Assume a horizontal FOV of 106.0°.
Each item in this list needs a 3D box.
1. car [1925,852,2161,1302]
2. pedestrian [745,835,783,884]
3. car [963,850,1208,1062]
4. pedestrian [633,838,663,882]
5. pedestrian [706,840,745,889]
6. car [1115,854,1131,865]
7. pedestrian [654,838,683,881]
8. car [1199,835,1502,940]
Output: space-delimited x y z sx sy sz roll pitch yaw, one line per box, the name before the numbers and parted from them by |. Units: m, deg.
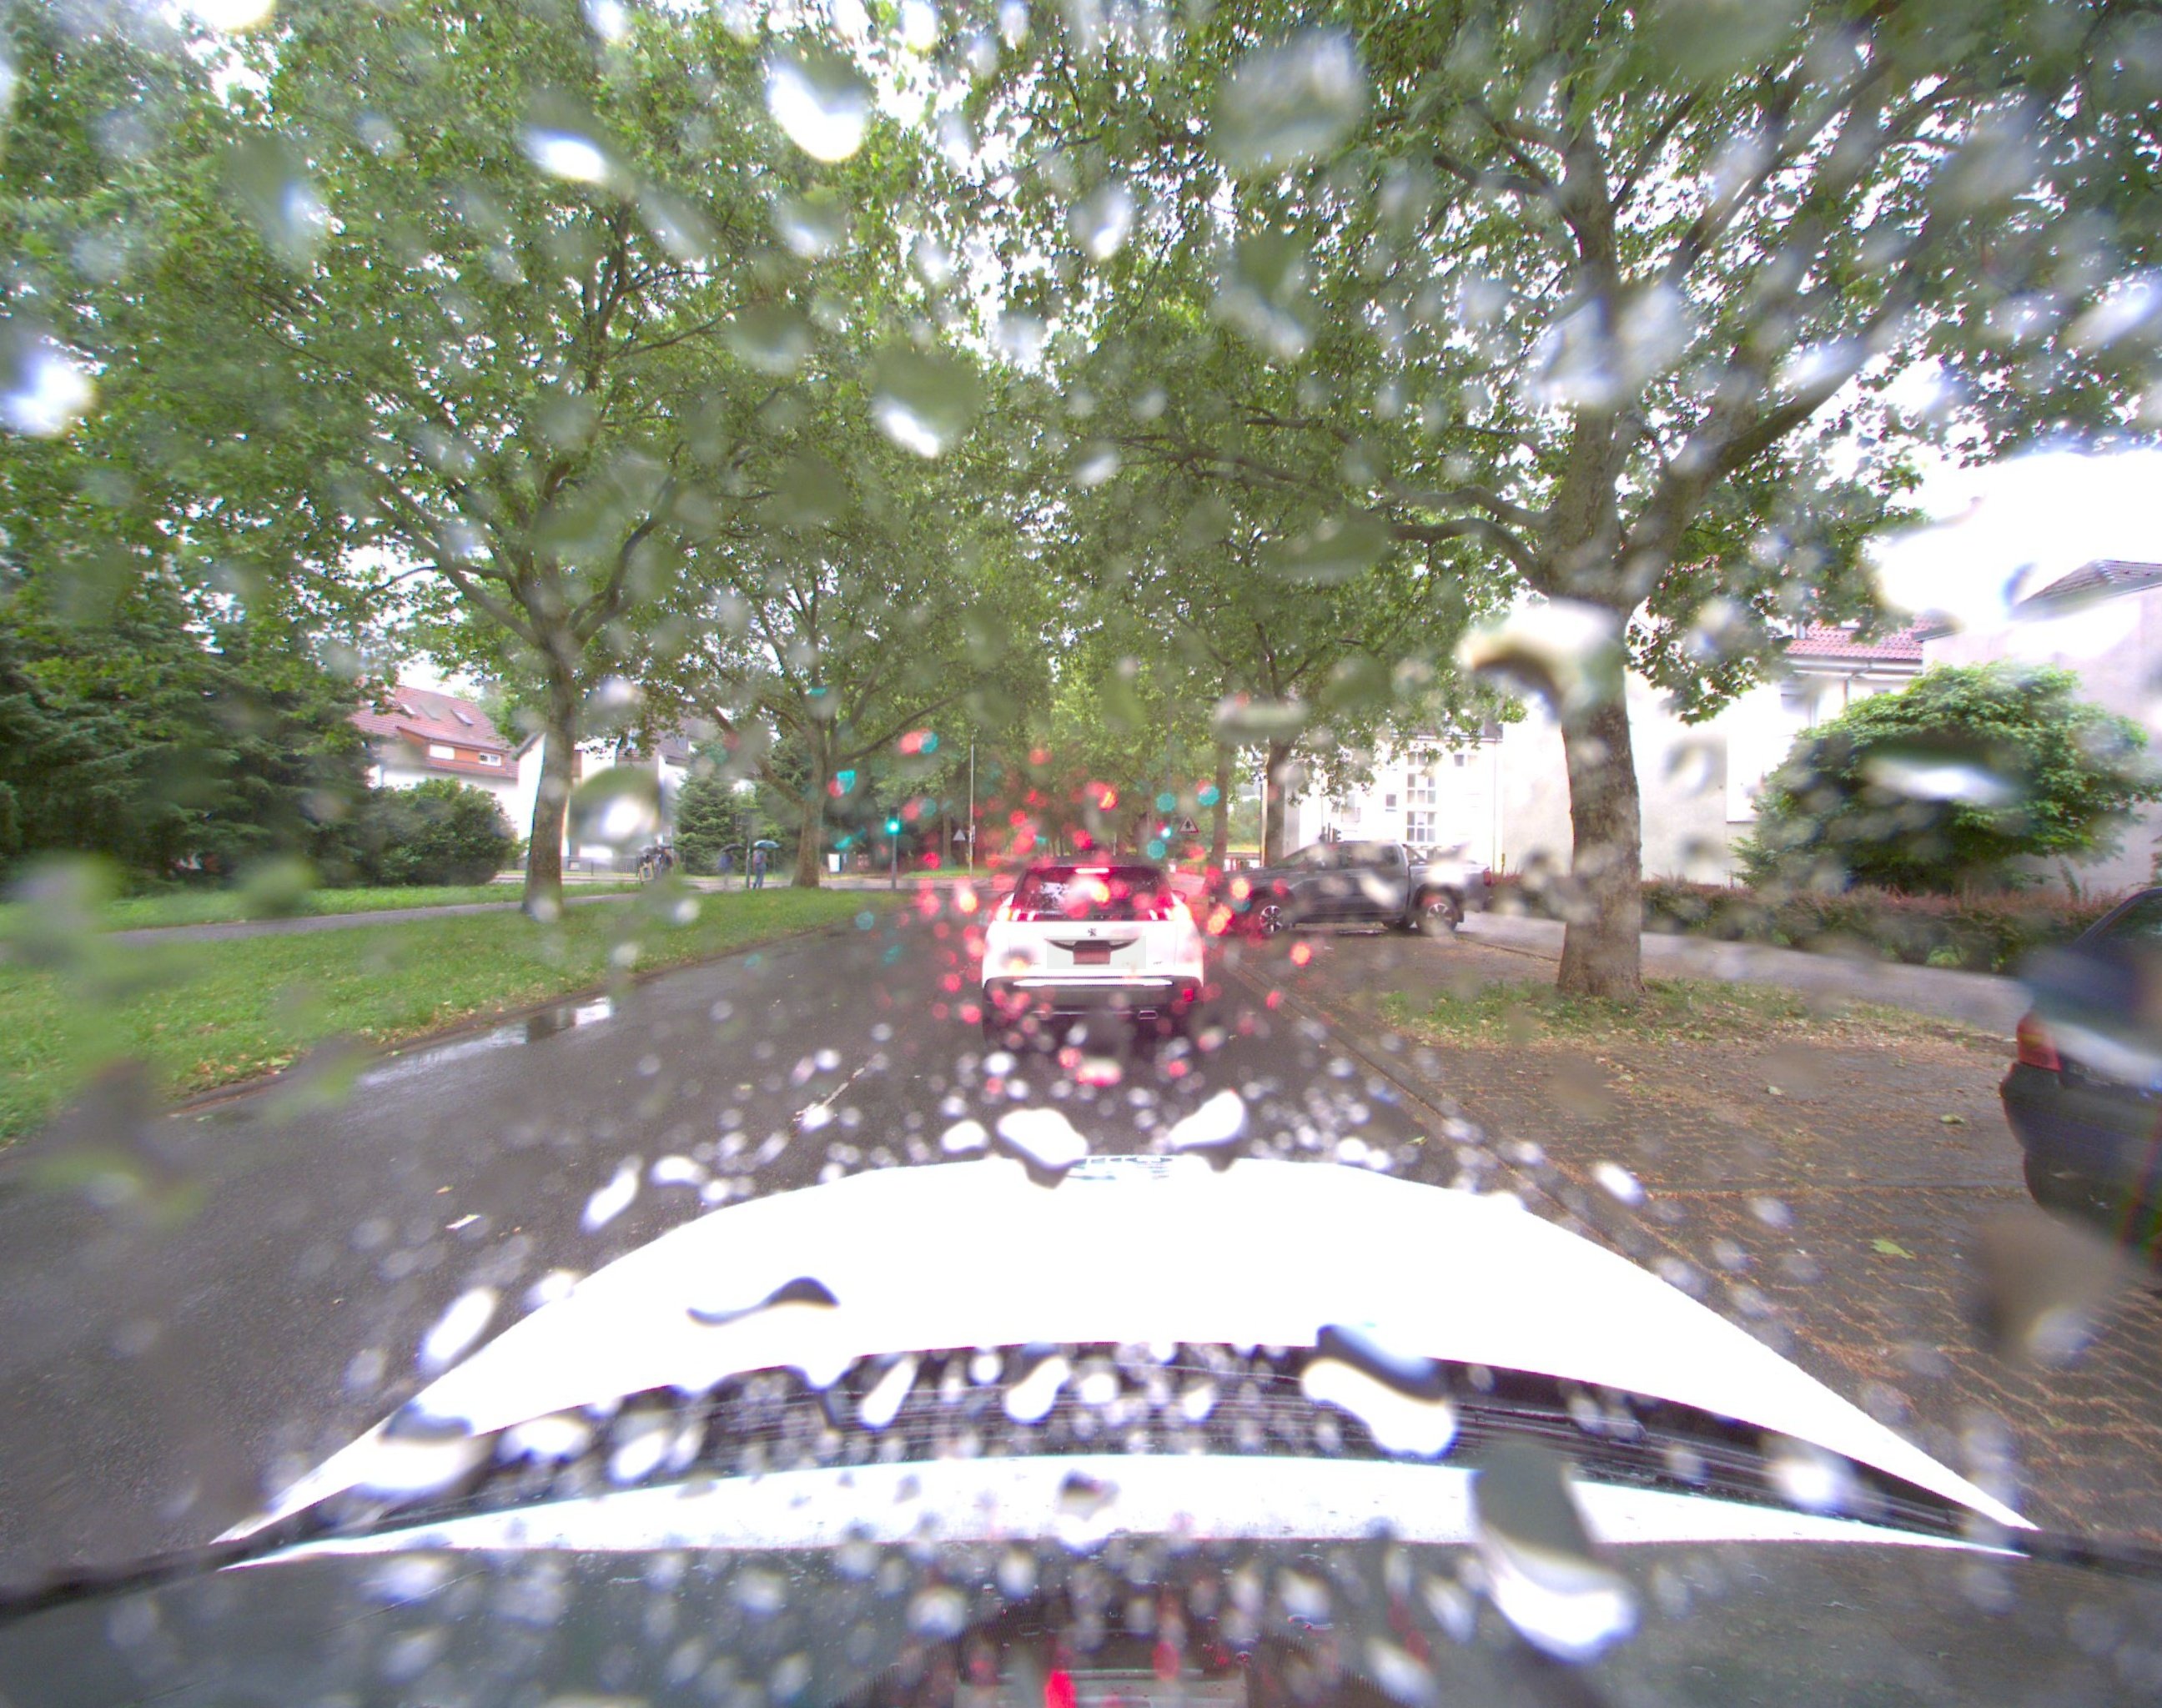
car | 5.188 0.732 2.604 3.344 1.464 1.618 0 0 0
pedestrian | -11.694 0.197 30.068 1.029 1.765 0.838 0 0 1
car | 0.087 0.731 7.926 1.774 1.536 4.059 0 0 1
pedestrian | -17.145 0.237 32.239 0.818 1.744 0.639 1 0 -2
pedestrian | -13.078 0.389 30.013 1.029 1.765 0.879 0 0 1
car | 5.748 0.705 111.777 1.901 1.510 3.928 0 0 -2
pedestrian | -16.930 0.226 33.422 0.856 1.744 0.639 1 0 -2
car | 5.162 0.599 15.962 5.330 1.806 1.842 -1 0 -6
